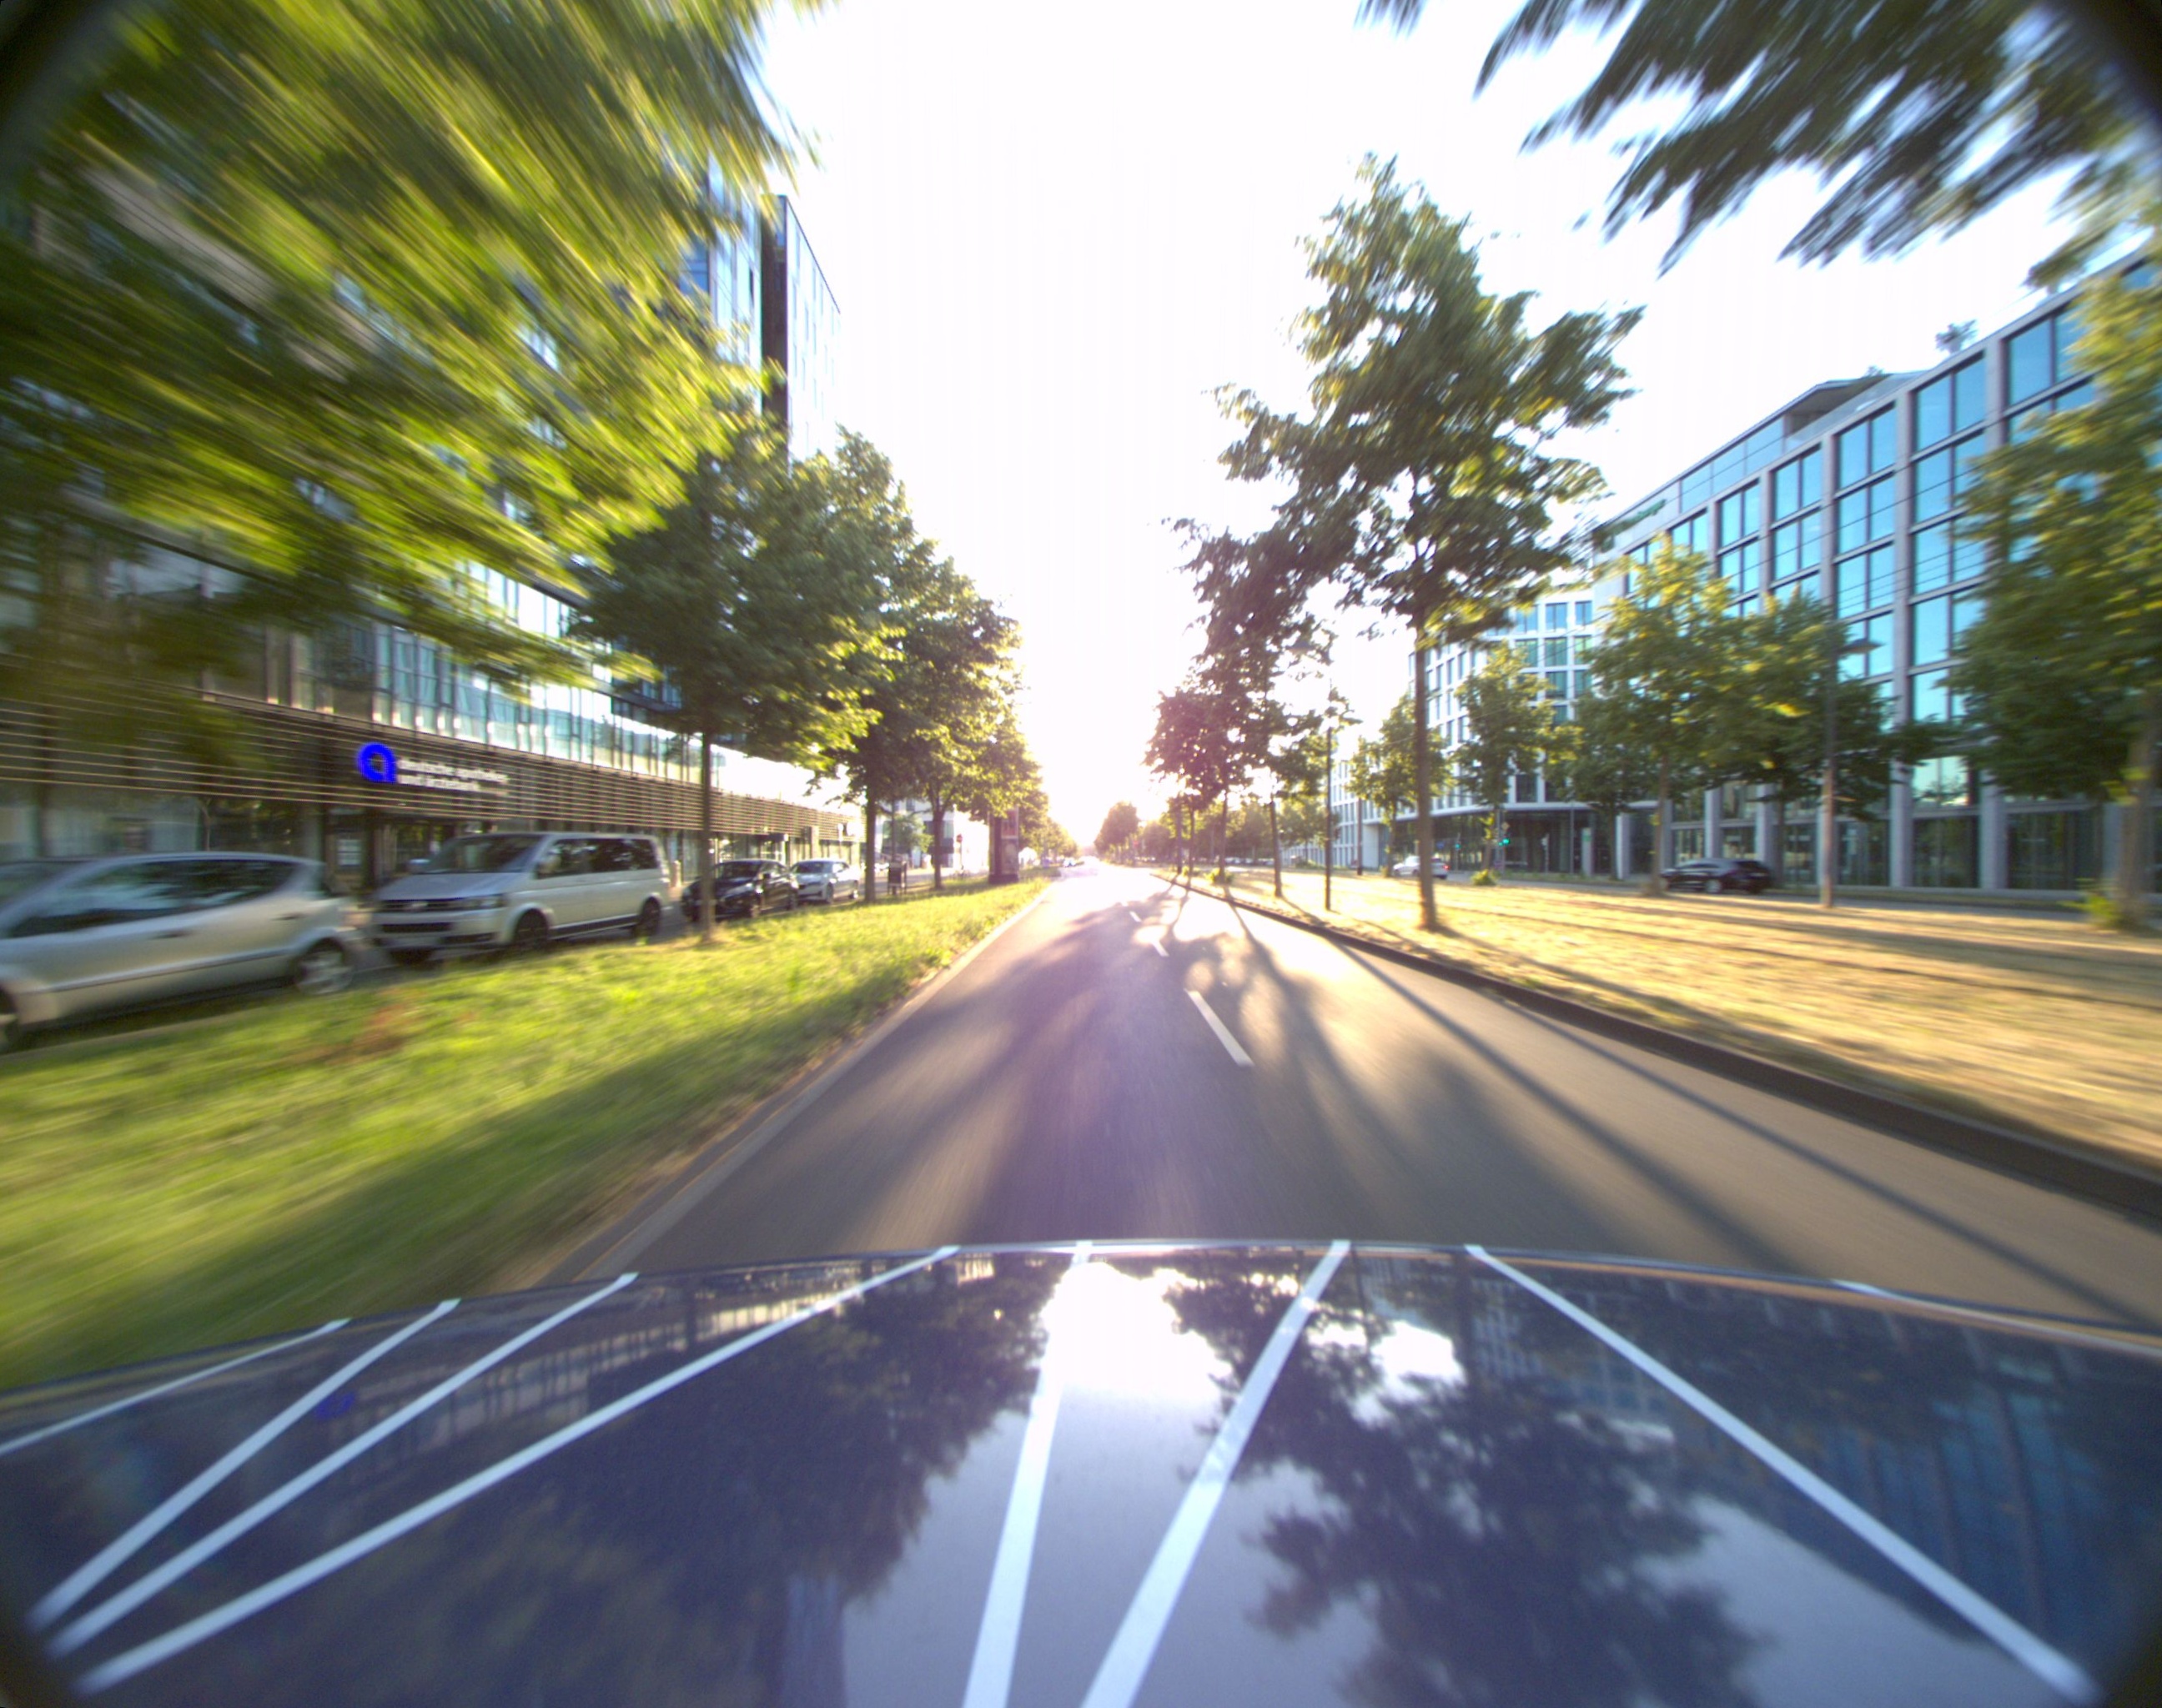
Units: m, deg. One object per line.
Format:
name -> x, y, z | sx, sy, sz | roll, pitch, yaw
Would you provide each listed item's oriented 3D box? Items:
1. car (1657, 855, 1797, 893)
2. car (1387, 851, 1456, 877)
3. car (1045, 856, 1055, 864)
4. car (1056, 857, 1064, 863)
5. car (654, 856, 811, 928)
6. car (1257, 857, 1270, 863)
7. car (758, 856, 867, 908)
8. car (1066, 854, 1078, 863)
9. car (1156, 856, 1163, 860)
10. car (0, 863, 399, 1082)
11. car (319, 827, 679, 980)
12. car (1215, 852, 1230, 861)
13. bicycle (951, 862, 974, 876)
car -> 25.808, 0.740, 30.592 | 1.936, 1.414, 4.388 | 0, 0, 1
car -> 19.884, 0.545, 44.591 | 1.907, 1.477, 4.630 | 0, 0, -1
car -> -6.723, 1.307, 165.790 | 1.998, 1.594, 4.000 | 0, 0, 0
car -> -6.044, 1.690, 216.697 | 1.998, 1.594, 4.000 | 0, 0, 0
car -> -8.610, 0.868, 19.261 | 1.864, 1.488, 4.290 | -3, 0, 1
car -> 38.237, 1.247, 159.350 | 1.763, 1.394, 4.000 | 0, 0, -1
car -> -8.836, 0.866, 25.536 | 1.922, 1.488, 5.040 | -1, 0, -1
car -> -1.496, 0.811, 128.421 | 1.998, 1.473, 4.335 | 0, 0, 0
car -> 24.287, 1.232, 235.654 | 1.649, 1.394, 4.000 | 0, 0, -1
car -> -8.943, 0.921, 6.872 | 1.843, 1.561, 4.061 | -1, 0, 0
car -> -8.810, 0.625, 12.269 | 1.991, 1.977, 4.932 | 0, 0, 0
car -> 24.301, 0.464, 130.630 | 1.645, 1.440, 3.999 | 0, 0, -2
bicycle -> -7.877, 1.013, 50.629 | 1.718, 0.905, 0.363 | 0, 0, 34
